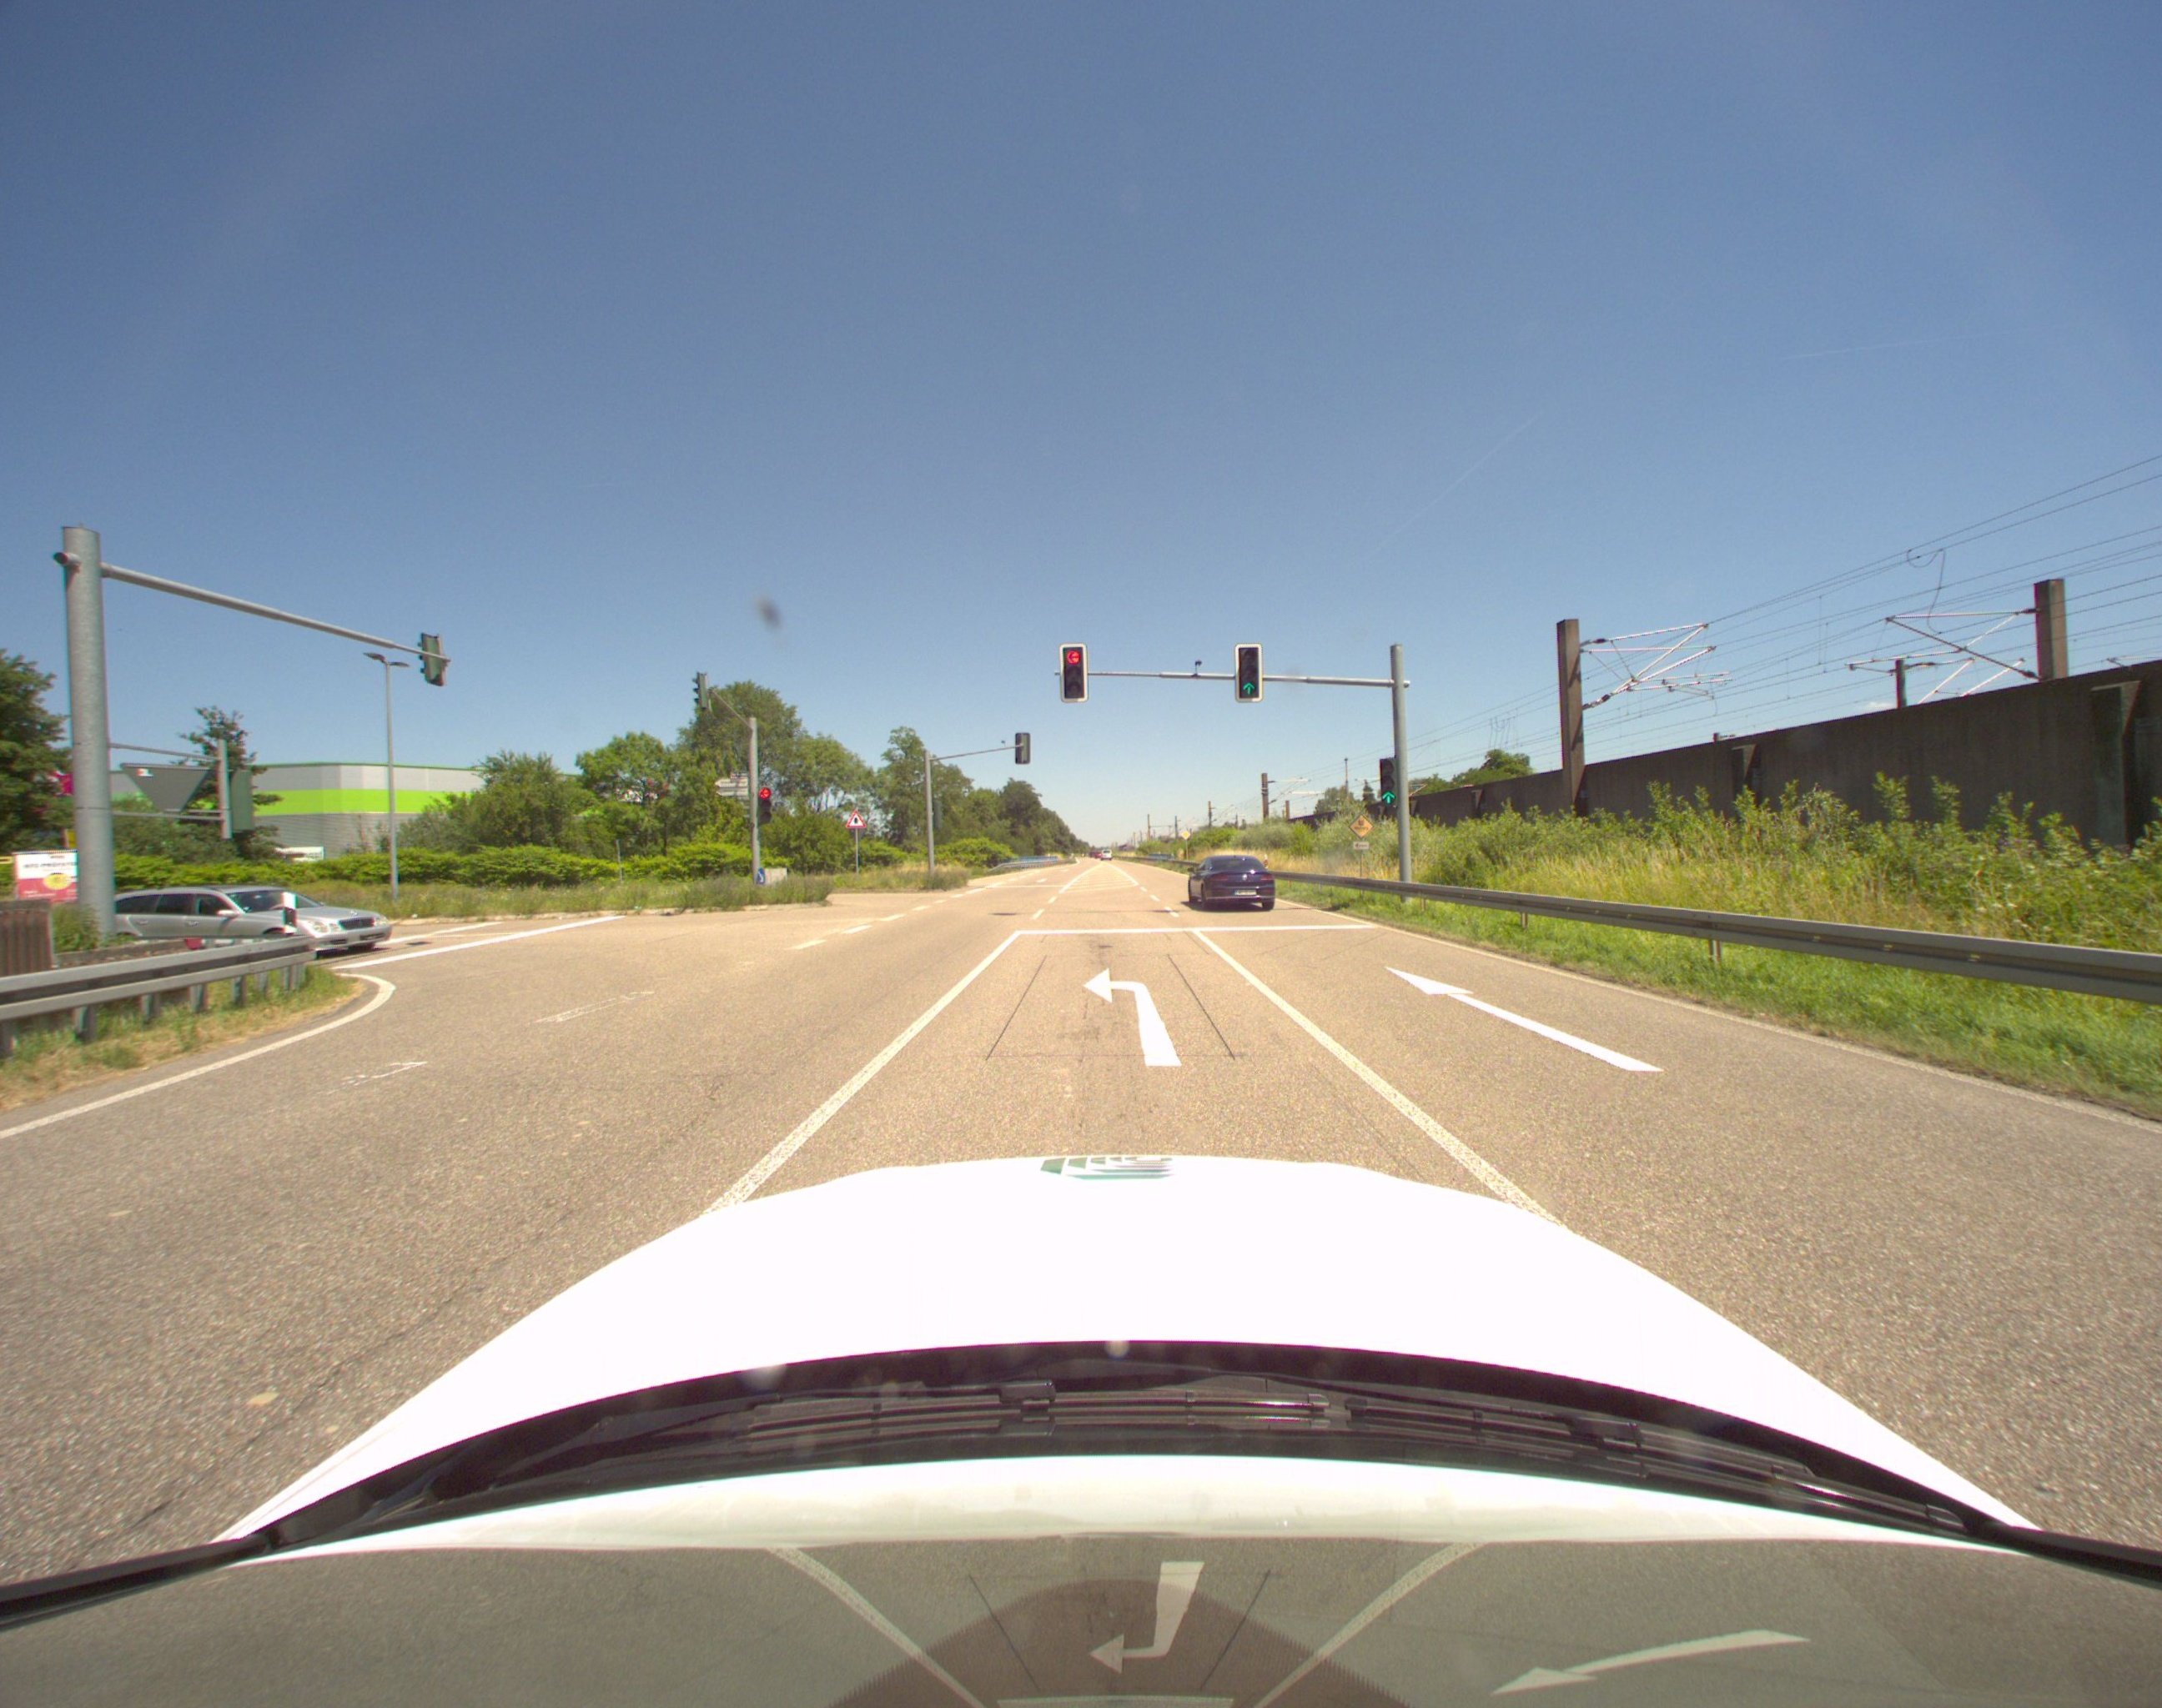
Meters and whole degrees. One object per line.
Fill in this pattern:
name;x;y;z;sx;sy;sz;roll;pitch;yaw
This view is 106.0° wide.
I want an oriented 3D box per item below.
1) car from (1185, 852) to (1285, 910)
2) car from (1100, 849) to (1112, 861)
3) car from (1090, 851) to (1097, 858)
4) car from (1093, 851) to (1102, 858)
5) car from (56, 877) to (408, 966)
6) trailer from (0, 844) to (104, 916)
car;4.013;0.649;21.974;1.851;1.379;4.502;0;0;0
car;4.508;0.171;147.438;1.987;1.983;4.059;0;0;0
car;3.884;0.201;252.531;2.148;1.968;4.542;-1;0;0
car;4.040;0.139;194.765;2.013;1.726;4.542;-1;0;0
car;-16.499;1.275;16.008;4.936;1.457;1.878;-2;0;1
trailer;-42.391;1.029;32.749;3.780;2.764;1.804;-1;0;-45
